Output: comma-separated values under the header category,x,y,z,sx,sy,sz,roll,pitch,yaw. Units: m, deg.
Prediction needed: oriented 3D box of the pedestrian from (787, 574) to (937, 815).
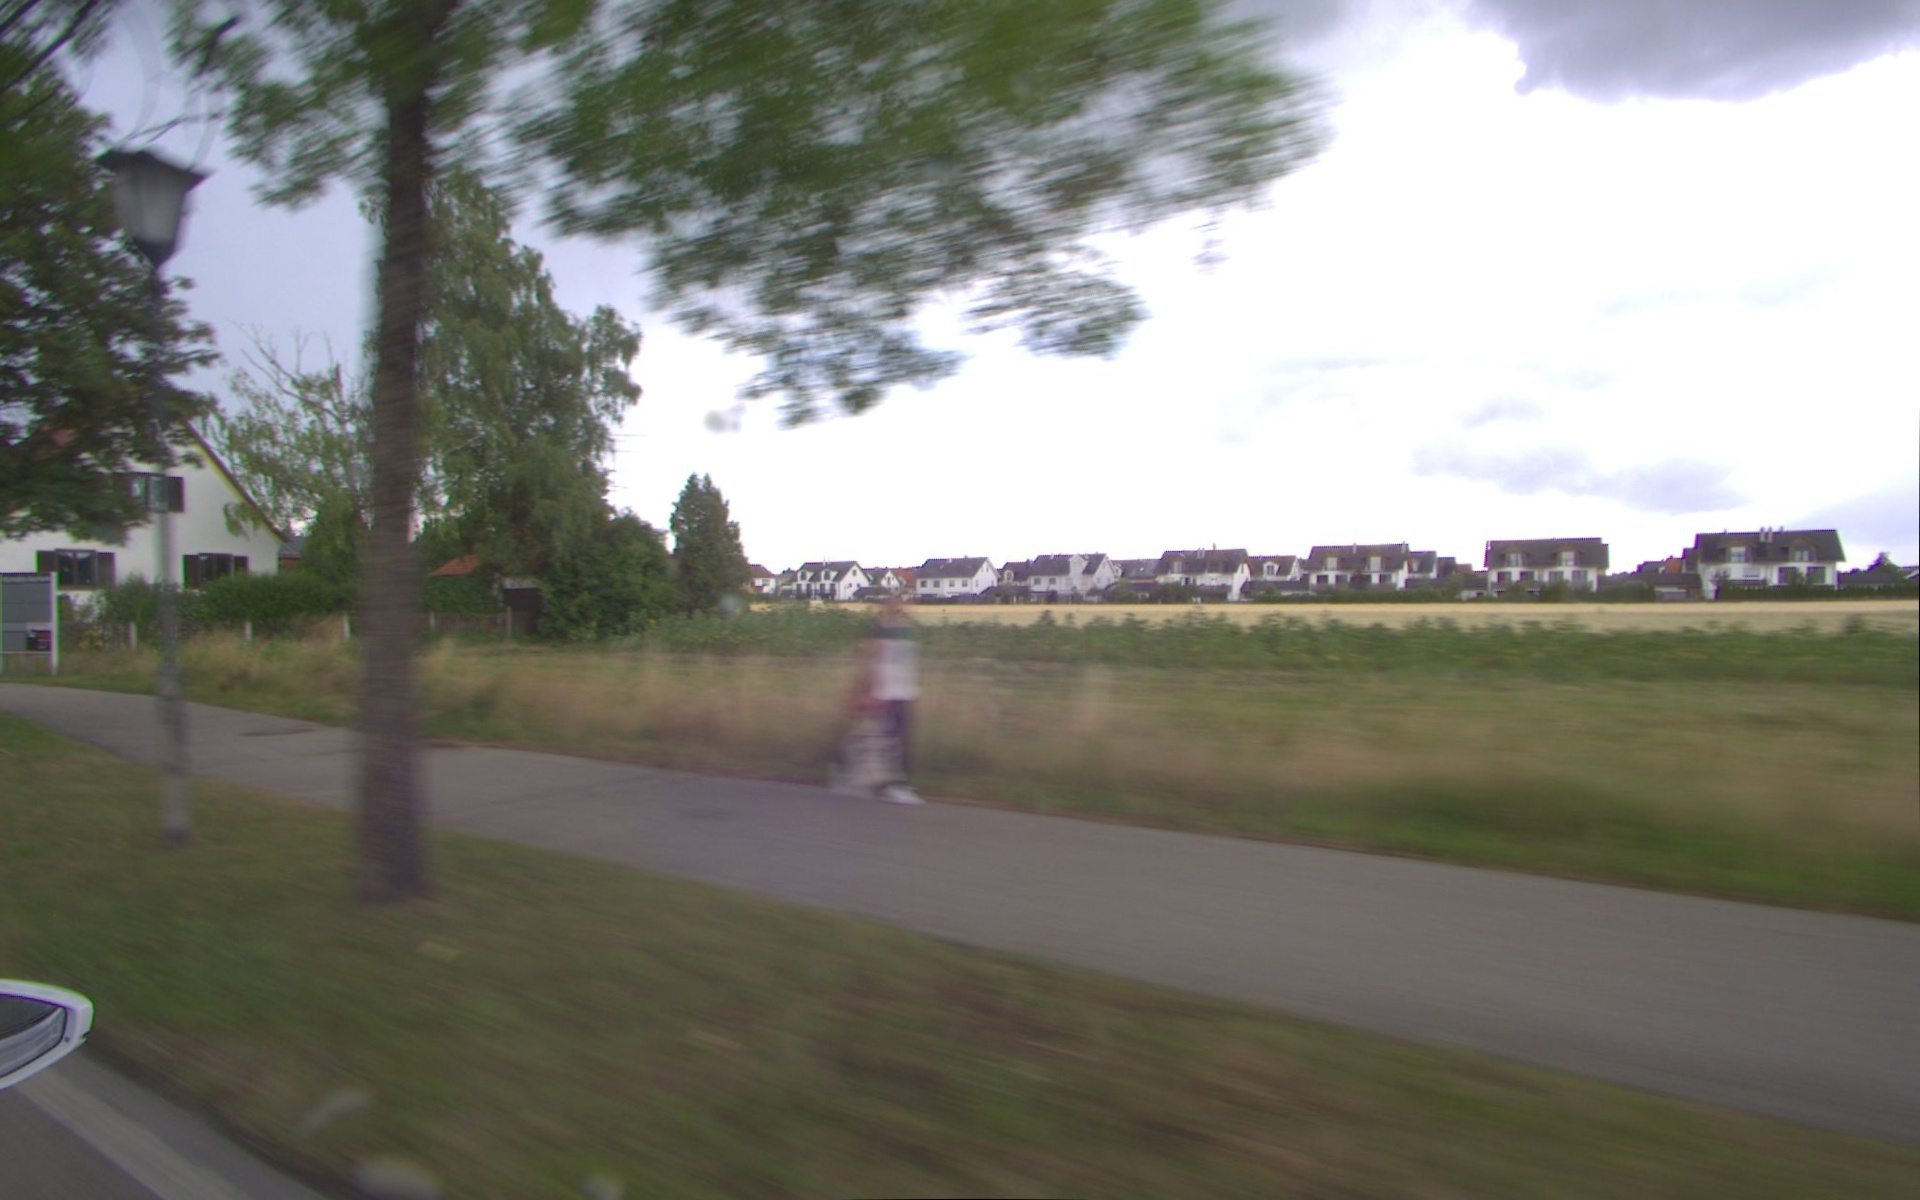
category,x,y,z,sx,sy,sz,roll,pitch,yaw
pedestrian,-0.778,0.703,7.963,0.859,1.778,0.834,0,0,38
